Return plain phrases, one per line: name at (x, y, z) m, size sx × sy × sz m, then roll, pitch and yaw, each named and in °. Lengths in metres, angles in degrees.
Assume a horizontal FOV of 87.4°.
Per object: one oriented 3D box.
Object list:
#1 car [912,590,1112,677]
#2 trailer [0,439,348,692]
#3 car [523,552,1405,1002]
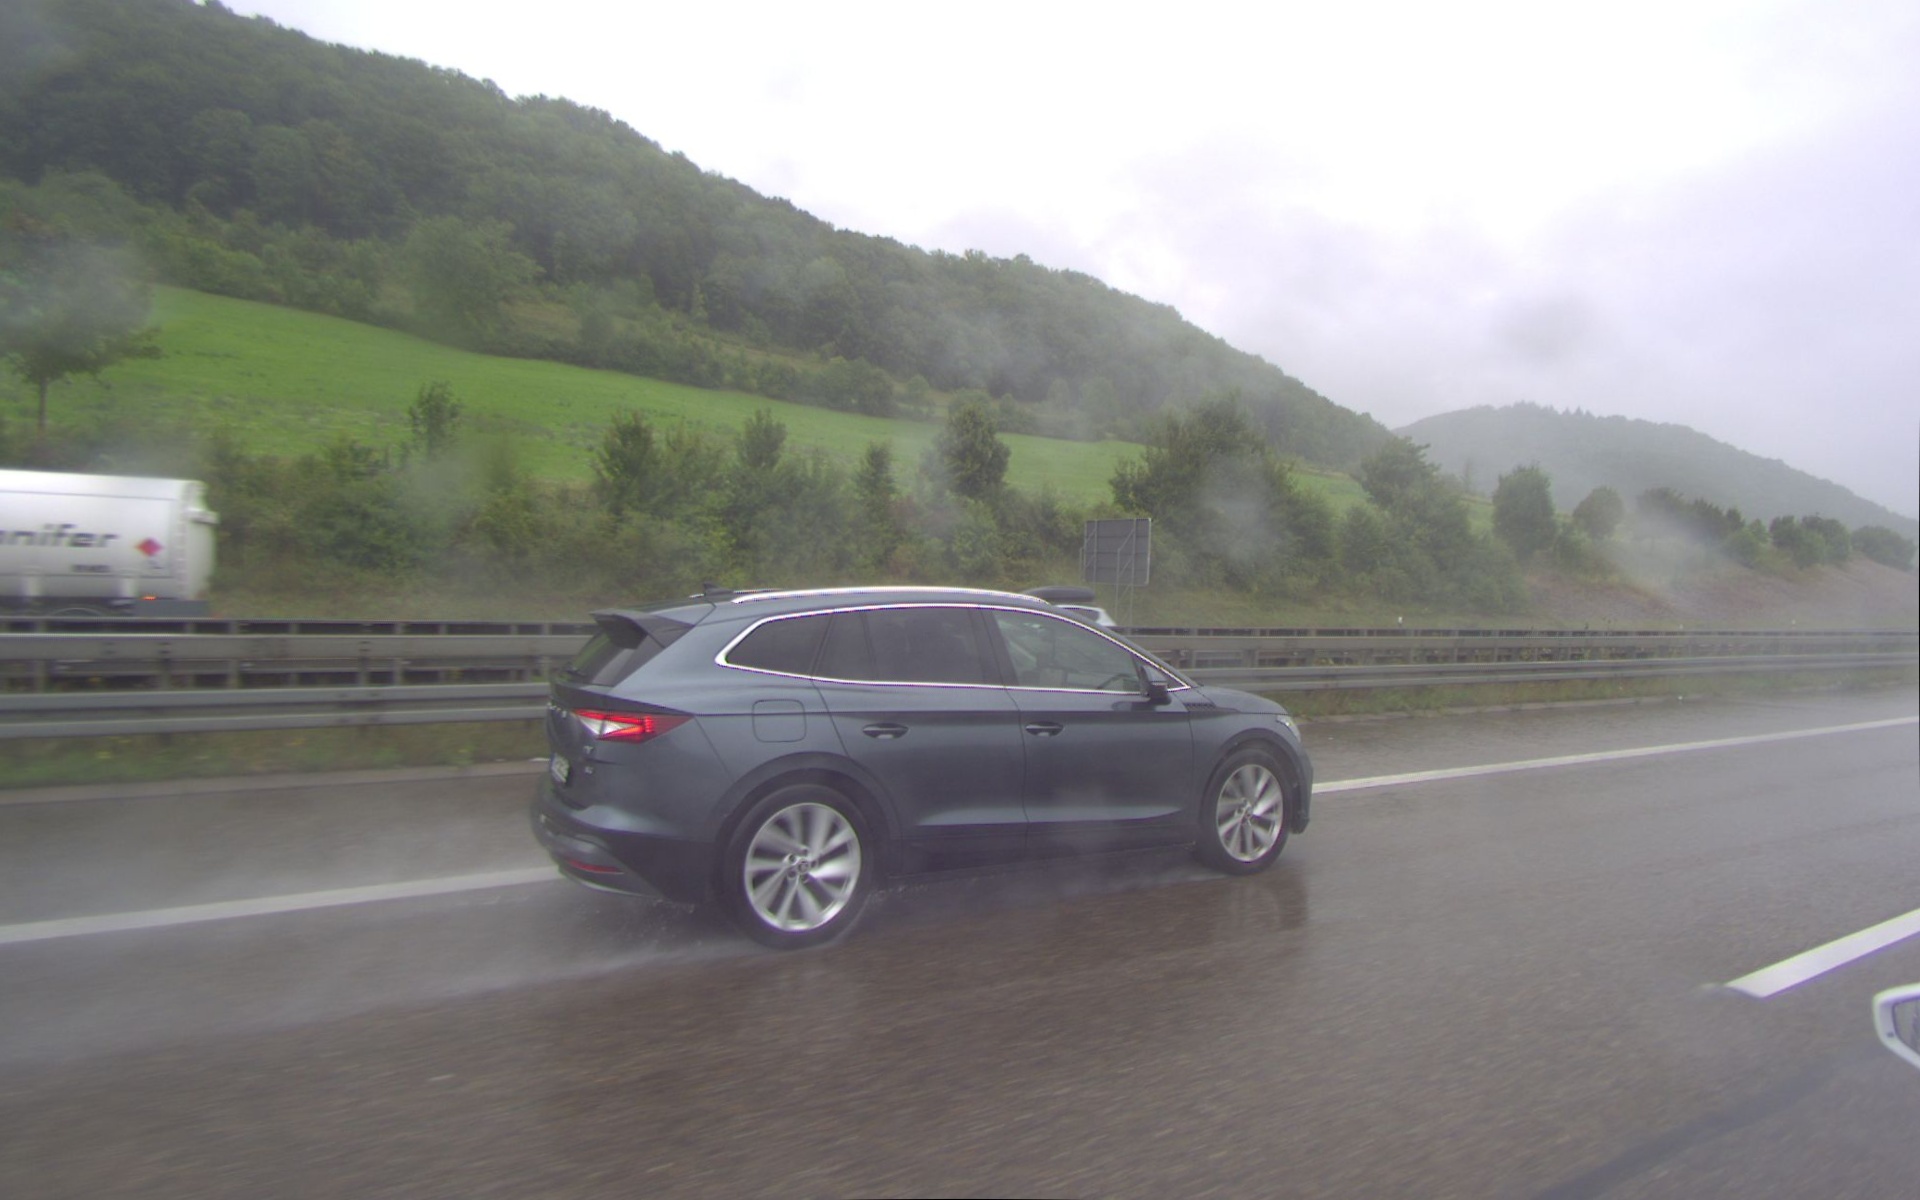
car at (1.151, 0.721, 22.194) m, size 3.950 × 1.757 × 1.986 m, roll 1°, pitch -1°, yaw -28°
trailer at (-17.139, -0.572, 16.082) m, size 12.425 × 3.954 × 2.918 m, roll 1°, pitch 0°, yaw -31°
car at (0.165, 0.701, 5.887) m, size 4.850 × 1.705 × 1.985 m, roll 0°, pitch -1°, yaw -29°
